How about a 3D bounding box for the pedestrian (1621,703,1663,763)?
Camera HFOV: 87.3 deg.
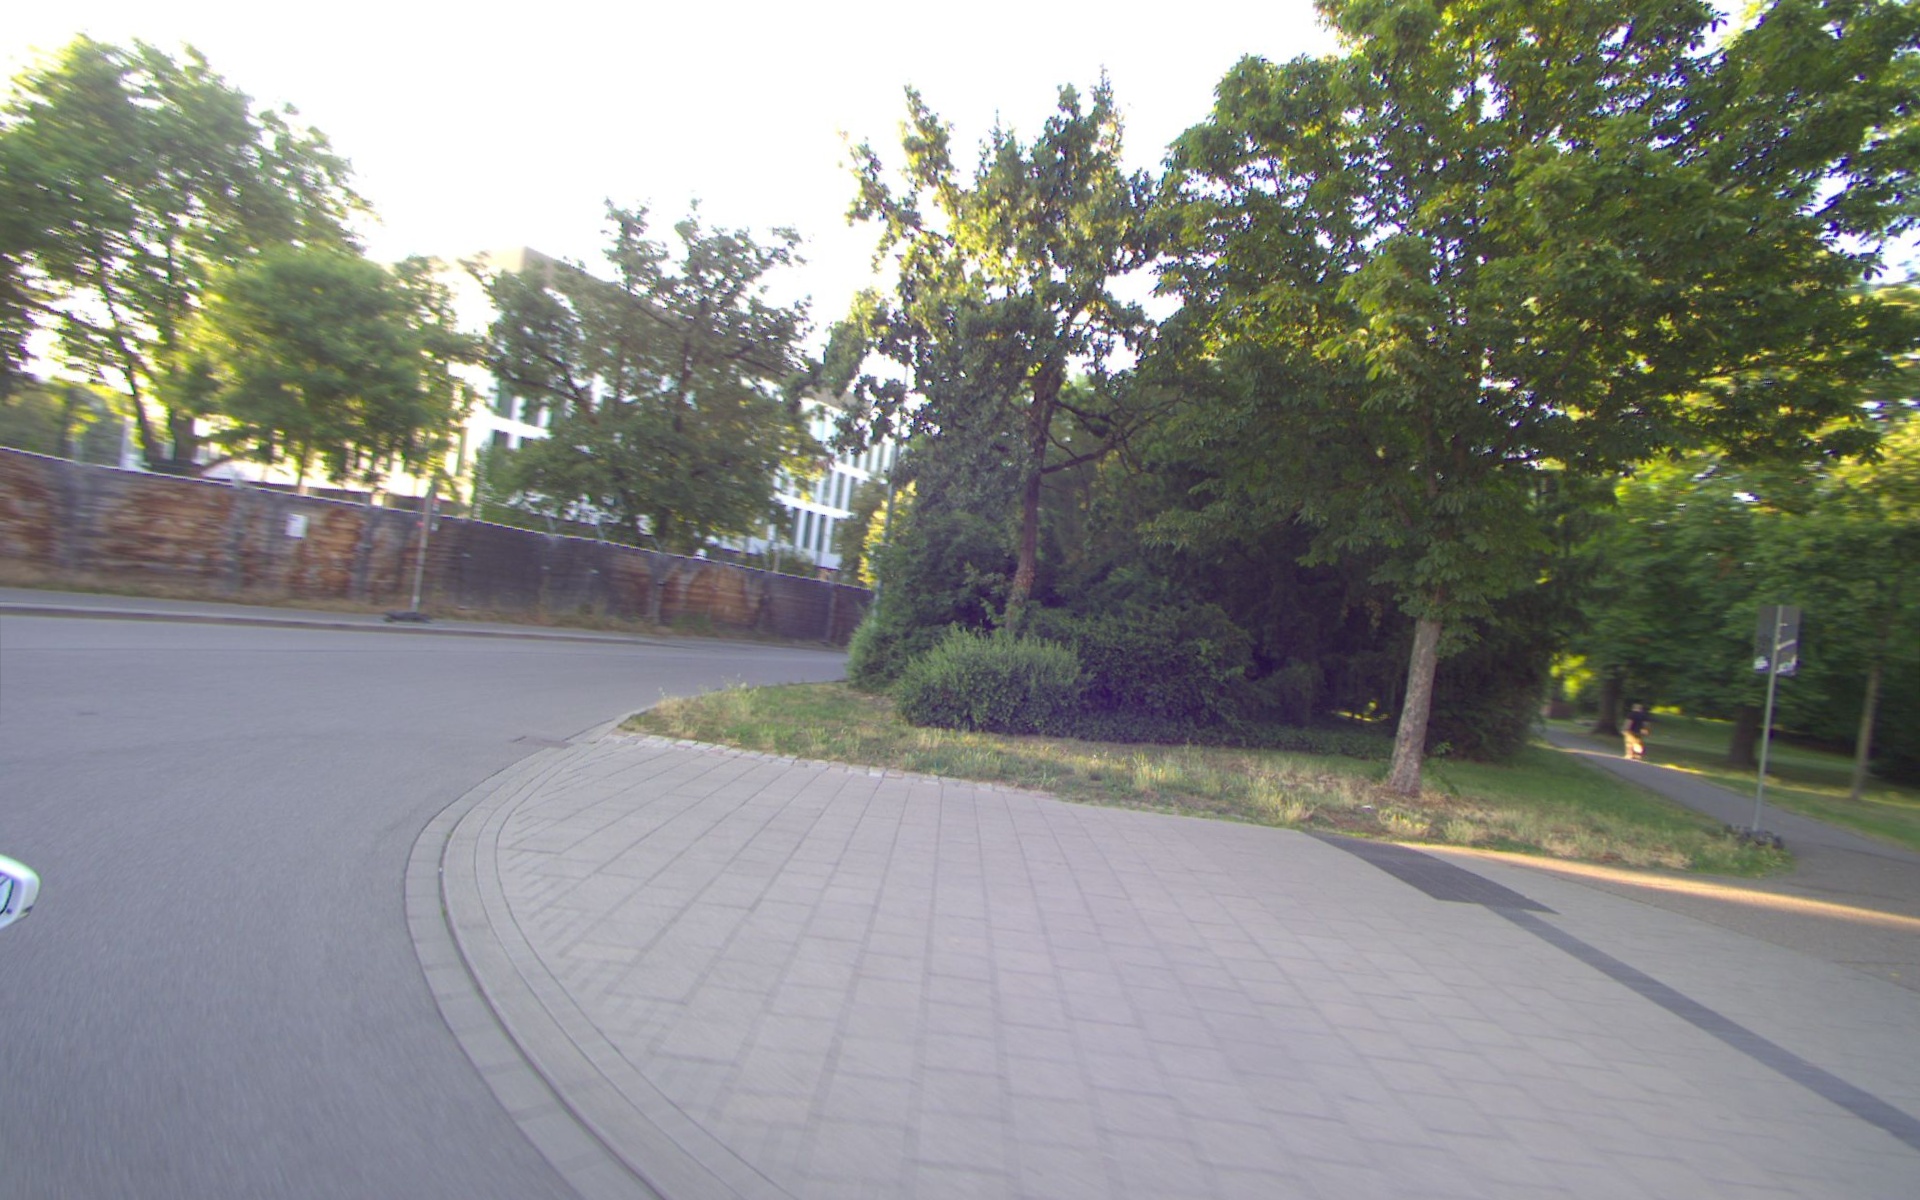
[{"bbox_3d":[20.214,3.920,29.833,0.823,1.643,0.815,7,0,31],"label":"pedestrian"}]
